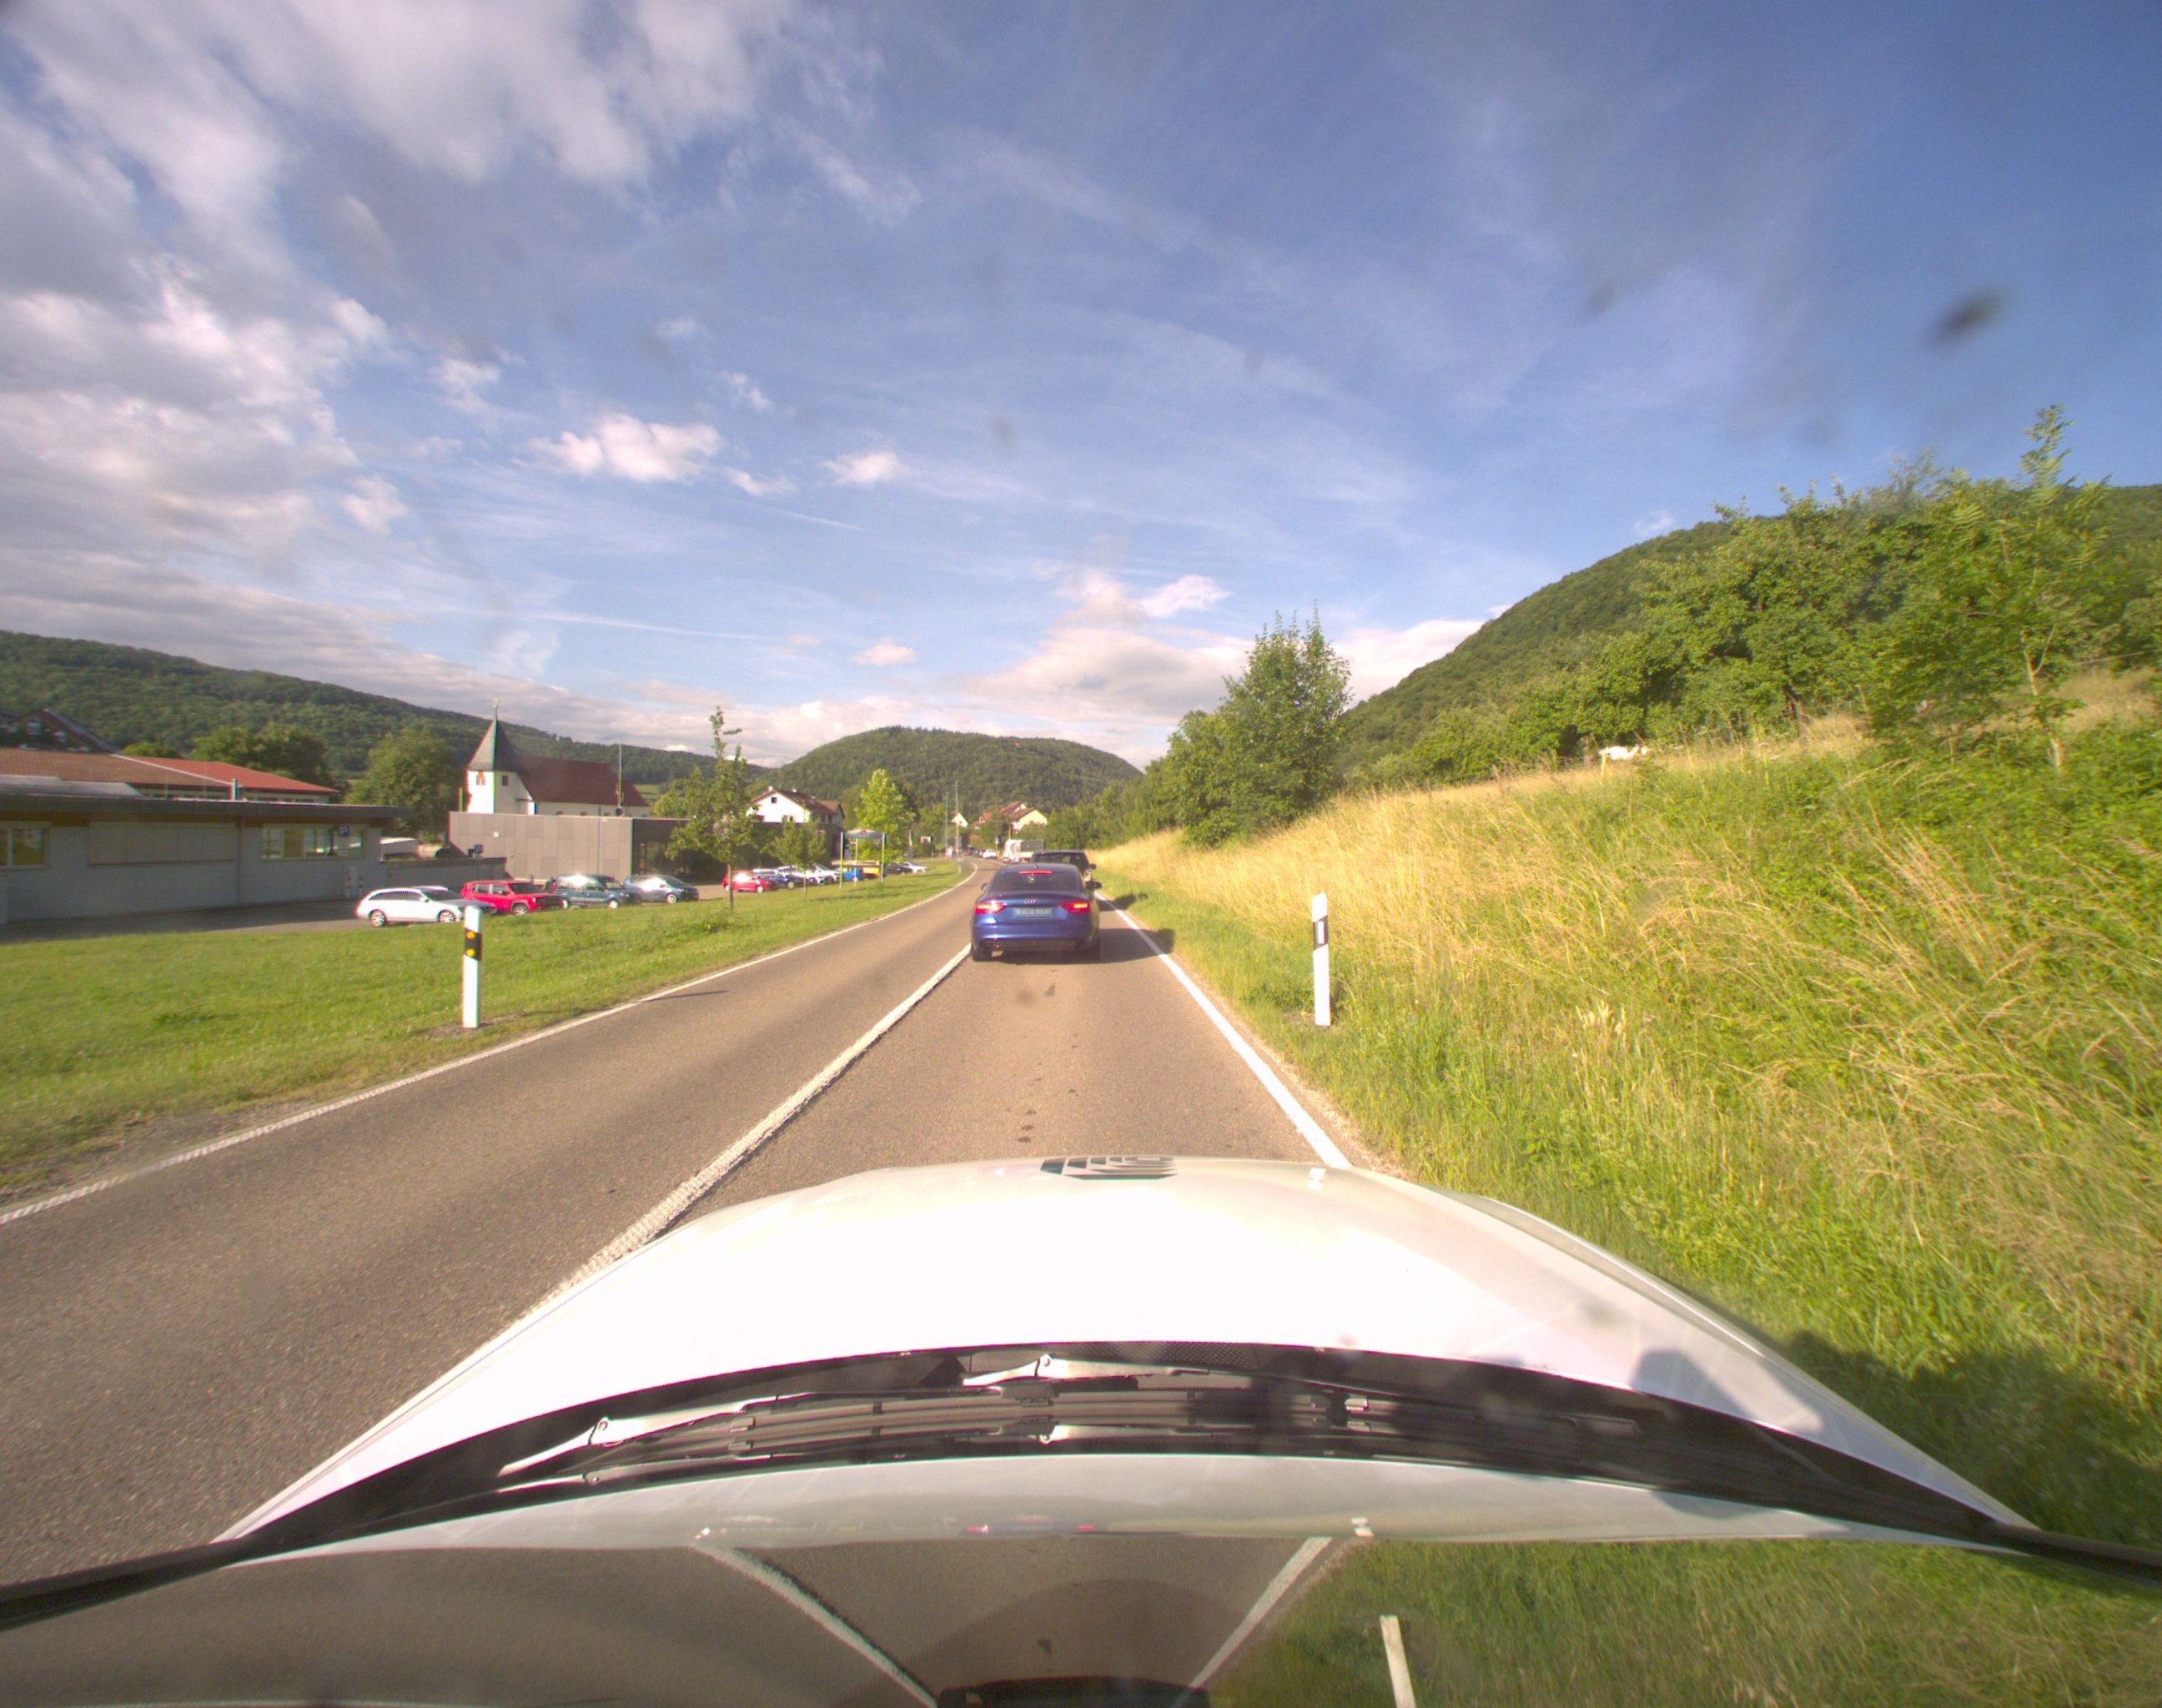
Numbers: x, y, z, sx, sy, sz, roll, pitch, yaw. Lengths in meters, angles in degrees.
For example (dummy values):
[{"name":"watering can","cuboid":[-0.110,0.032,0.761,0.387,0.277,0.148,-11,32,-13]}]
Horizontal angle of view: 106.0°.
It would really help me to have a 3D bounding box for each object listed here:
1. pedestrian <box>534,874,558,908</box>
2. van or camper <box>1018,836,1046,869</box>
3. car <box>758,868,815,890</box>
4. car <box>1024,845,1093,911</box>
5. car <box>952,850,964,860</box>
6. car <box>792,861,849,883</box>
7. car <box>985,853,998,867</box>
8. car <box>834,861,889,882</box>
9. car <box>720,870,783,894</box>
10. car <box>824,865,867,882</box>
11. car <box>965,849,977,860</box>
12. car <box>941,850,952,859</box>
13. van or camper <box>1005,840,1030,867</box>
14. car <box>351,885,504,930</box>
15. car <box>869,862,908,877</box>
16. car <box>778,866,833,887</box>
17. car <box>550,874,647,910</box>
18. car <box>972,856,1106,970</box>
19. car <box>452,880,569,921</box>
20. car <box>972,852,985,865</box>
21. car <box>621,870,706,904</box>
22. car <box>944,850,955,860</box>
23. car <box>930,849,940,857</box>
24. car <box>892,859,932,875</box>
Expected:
[{"name":"pedestrian","cuboid":[-27.405,1.899,41.739,0.793,1.693,0.704,0,0,-5]},{"name":"van or camper","cuboid":[-3.997,-0.091,65.723,2.049,2.505,5.801,-2,0,-5]},{"name":"car","cuboid":[-21.924,1.843,60.618,3.605,1.405,1.600,-1,2,7]},{"name":"car","cuboid":[-0.679,0.595,22.028,1.643,1.625,3.510,0,0,-5]},{"name":"car","cuboid":[-24.622,0.253,163.172,1.682,1.924,3.975,-2,0,-19]},{"name":"car","cuboid":[-21.497,1.495,67.268,4.055,1.673,1.600,-1,1,7]},{"name":"car","cuboid":[-13.063,0.906,118.919,1.660,1.924,3.986,-2,0,-10]},{"name":"car","cuboid":[-20.417,1.614,75.862,4.529,1.815,1.845,-2,0,7]},{"name":"car","cuboid":[-22.522,1.905,55.671,3.605,1.444,1.652,-2,0,7]},{"name":"car","cuboid":[-21.140,1.772,73.246,3.359,1.373,1.660,-2,0,-1]},{"name":"car","cuboid":[-20.119,0.153,148.756,1.681,1.924,3.977,-2,0,-17]},{"name":"car","cuboid":[-29.692,0.181,179.588,1.960,1.924,3.976,-2,0,-18]},{"name":"van or camper","cuboid":[-6.669,-0.041,85.026,2.279,2.713,5.751,-2,0,-8]},{"name":"car","cuboid":[-25.994,2.098,32.468,4.617,1.589,2.003,-1,0,6]},{"name":"car","cuboid":[-20.295,1.630,86.039,3.692,1.439,1.512,-2,0,7]},{"name":"car","cuboid":[-21.621,1.750,63.992,3.646,1.493,1.600,-1,0,7]},{"name":"car","cuboid":[-24.224,1.902,40.994,3.844,1.722,1.758,0,0,4]},{"name":"car","cuboid":[-0.614,0.772,12.468,1.738,1.450,3.514,-1,0,-2]},{"name":"car","cuboid":[-24.737,1.998,35.399,3.900,1.579,1.759,-1,0,6]},{"name":"car","cuboid":[-16.292,0.707,129.302,1.661,1.924,3.983,-2,0,-12]},{"name":"car","cuboid":[-23.334,1.827,45.579,3.798,1.722,1.735,-1,0,6]},{"name":"car","cuboid":[-27.781,0.243,171.930,1.681,1.924,3.976,-2,0,-18]},{"name":"car","cuboid":[-35.157,-0.278,195.939,1.681,1.924,3.976,-2,0,-18]},{"name":"car","cuboid":[-18.691,1.468,90.200,4.014,1.660,1.659,-2,0,7]}]
